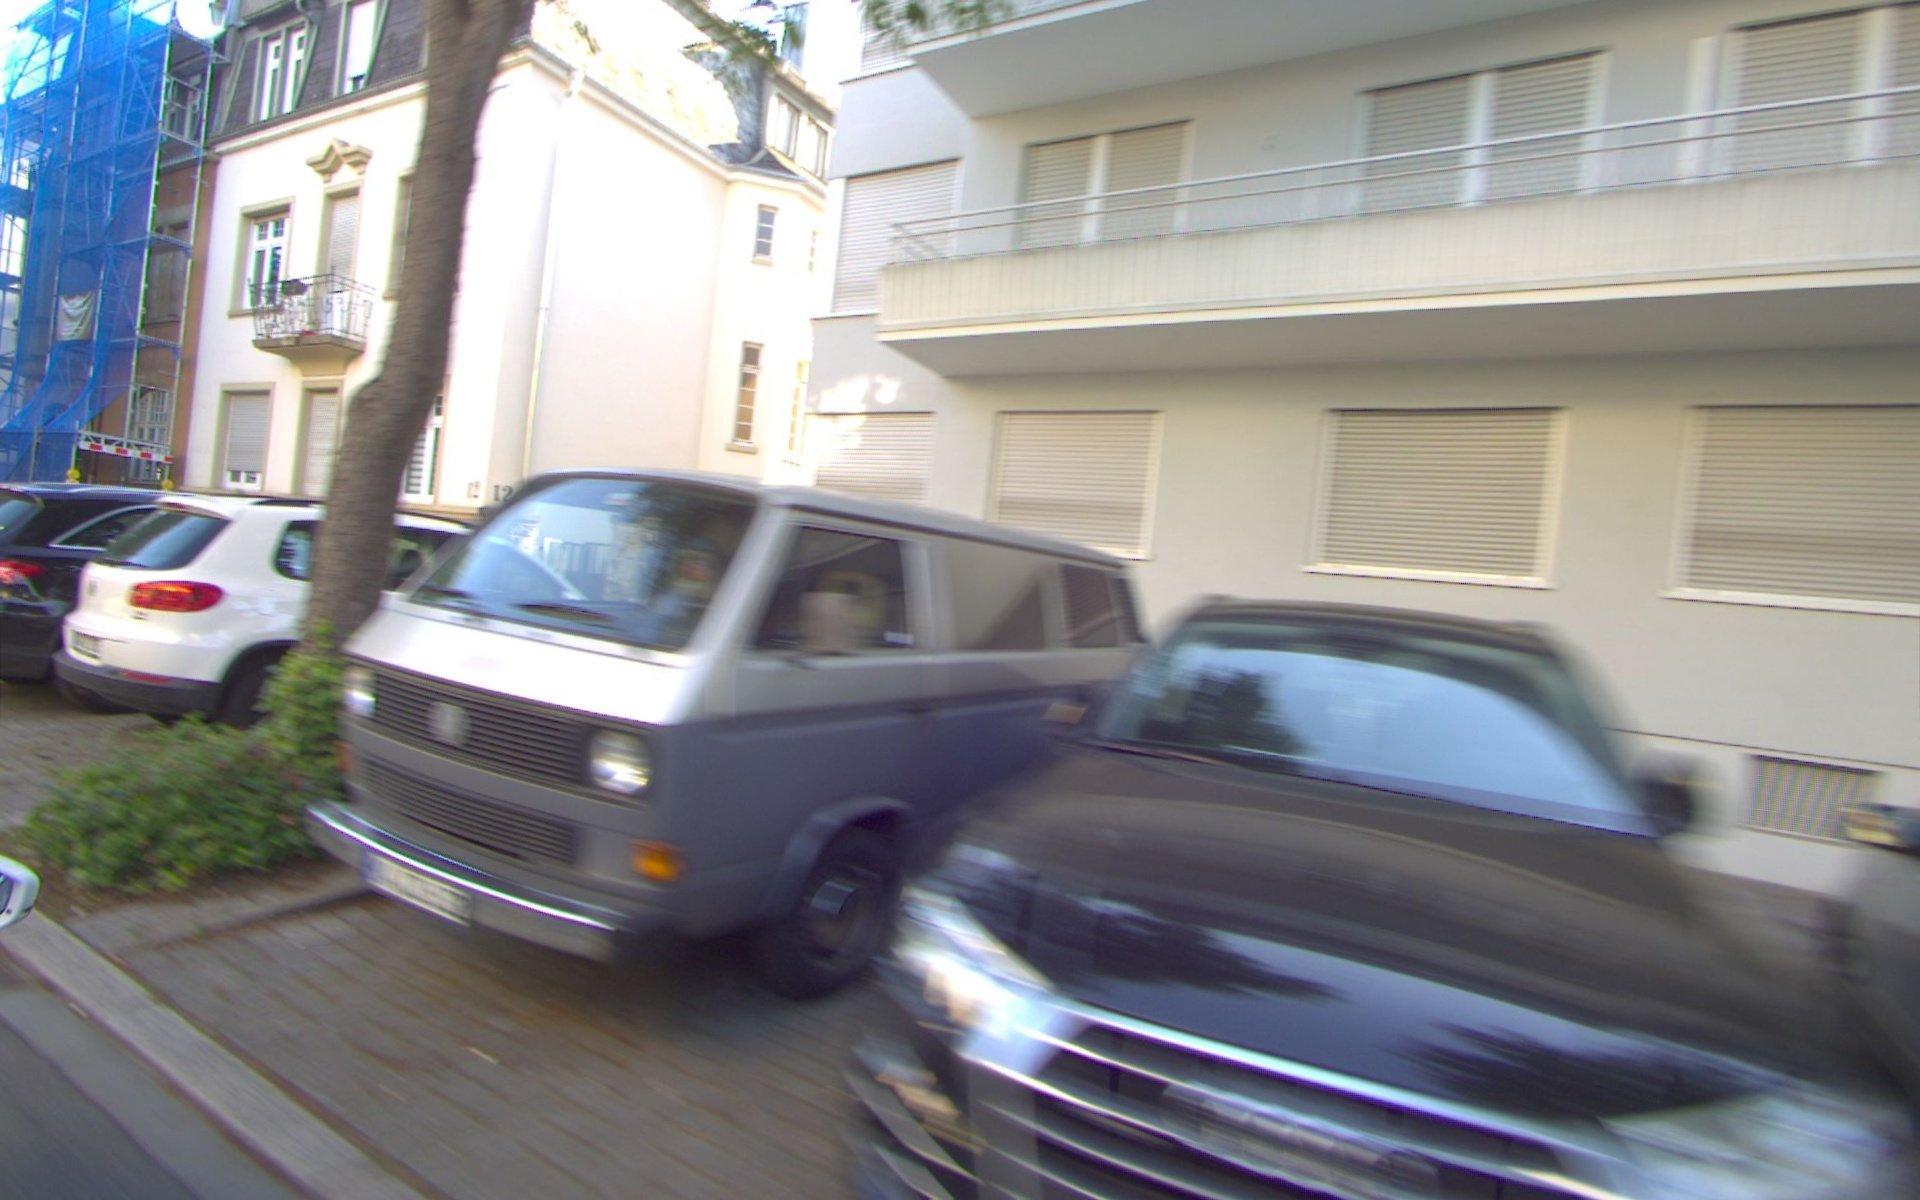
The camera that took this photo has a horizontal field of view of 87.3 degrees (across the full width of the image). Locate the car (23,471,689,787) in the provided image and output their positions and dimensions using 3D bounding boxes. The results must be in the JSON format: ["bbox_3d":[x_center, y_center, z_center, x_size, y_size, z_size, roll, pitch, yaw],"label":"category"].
[{"bbox_3d":[-4.244,0.187,7.687,1.678,1.705,3.948,8,2,34],"label":"car"}]

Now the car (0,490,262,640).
[{"bbox_3d":[-10.655,-0.432,11.335,1.820,1.560,4.157,7,2,31],"label":"car"}]

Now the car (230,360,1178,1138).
[{"bbox_3d":[-0.590,0.434,5.031,1.864,2.039,4.476,7,0,29],"label":"car"}]

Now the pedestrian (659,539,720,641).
[{"bbox_3d":[-4.860,-0.173,18.070,0.664,1.736,0.594,7,1,32],"label":"pedestrian"}]

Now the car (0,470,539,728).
[{"bbox_3d":[-6.124,-0.021,8.704,1.677,1.705,4.334,8,2,31],"label":"car"}]

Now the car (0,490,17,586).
[{"bbox_3d":[-17.098,-1.138,15.081,1.821,1.512,3.987,7,2,33],"label":"car"}]

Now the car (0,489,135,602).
[{"bbox_3d":[-14.798,-0.897,14.037,1.820,1.555,4.719,7,2,31],"label":"car"}]

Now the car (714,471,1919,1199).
[{"bbox_3d":[1.212,0.804,3.447,1.734,1.745,4.185,6,0,24],"label":"car"}]

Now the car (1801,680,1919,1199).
[{"bbox_3d":[3.571,1.111,2.518,1.612,1.574,3.723,6,0,32],"label":"car"}]
